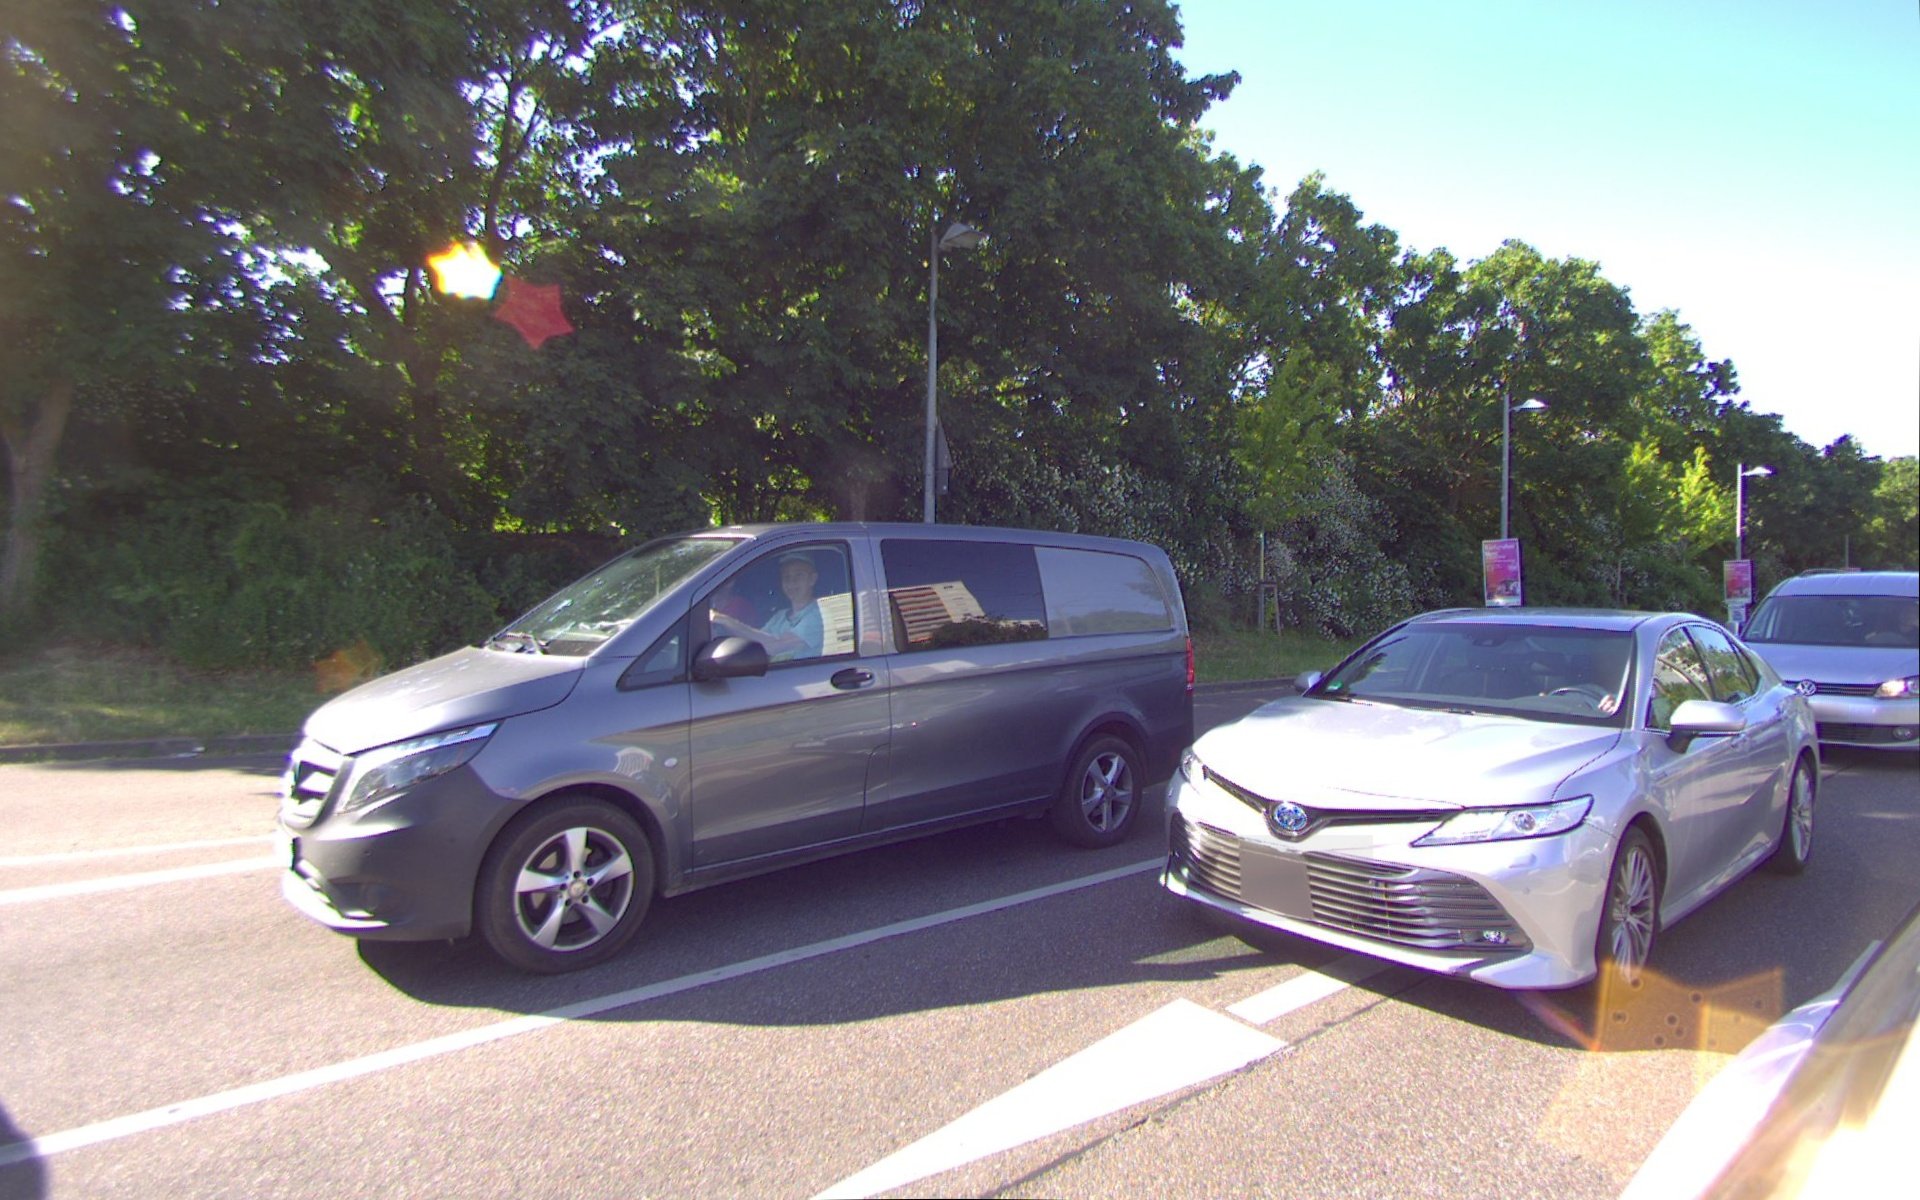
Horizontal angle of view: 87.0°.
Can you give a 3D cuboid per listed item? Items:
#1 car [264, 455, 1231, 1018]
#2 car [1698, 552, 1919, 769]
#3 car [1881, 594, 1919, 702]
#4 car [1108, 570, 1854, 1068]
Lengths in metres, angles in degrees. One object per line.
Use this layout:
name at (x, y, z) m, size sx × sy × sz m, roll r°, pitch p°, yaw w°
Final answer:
car at (-0.777, 0.425, 5.651) m, size 5.011 × 1.875 × 1.809 m, roll 0°, pitch 2°, yaw -39°
car at (9.506, 0.483, 10.554) m, size 4.504 × 1.844 × 1.809 m, roll -1°, pitch 1°, yaw -39°
car at (14.998, 0.674, 14.922) m, size 4.126 × 1.472 × 1.715 m, roll 0°, pitch 1°, yaw -43°
car at (2.990, 0.662, 5.255) m, size 4.599 × 1.512 × 1.808 m, roll 0°, pitch 0°, yaw -40°
